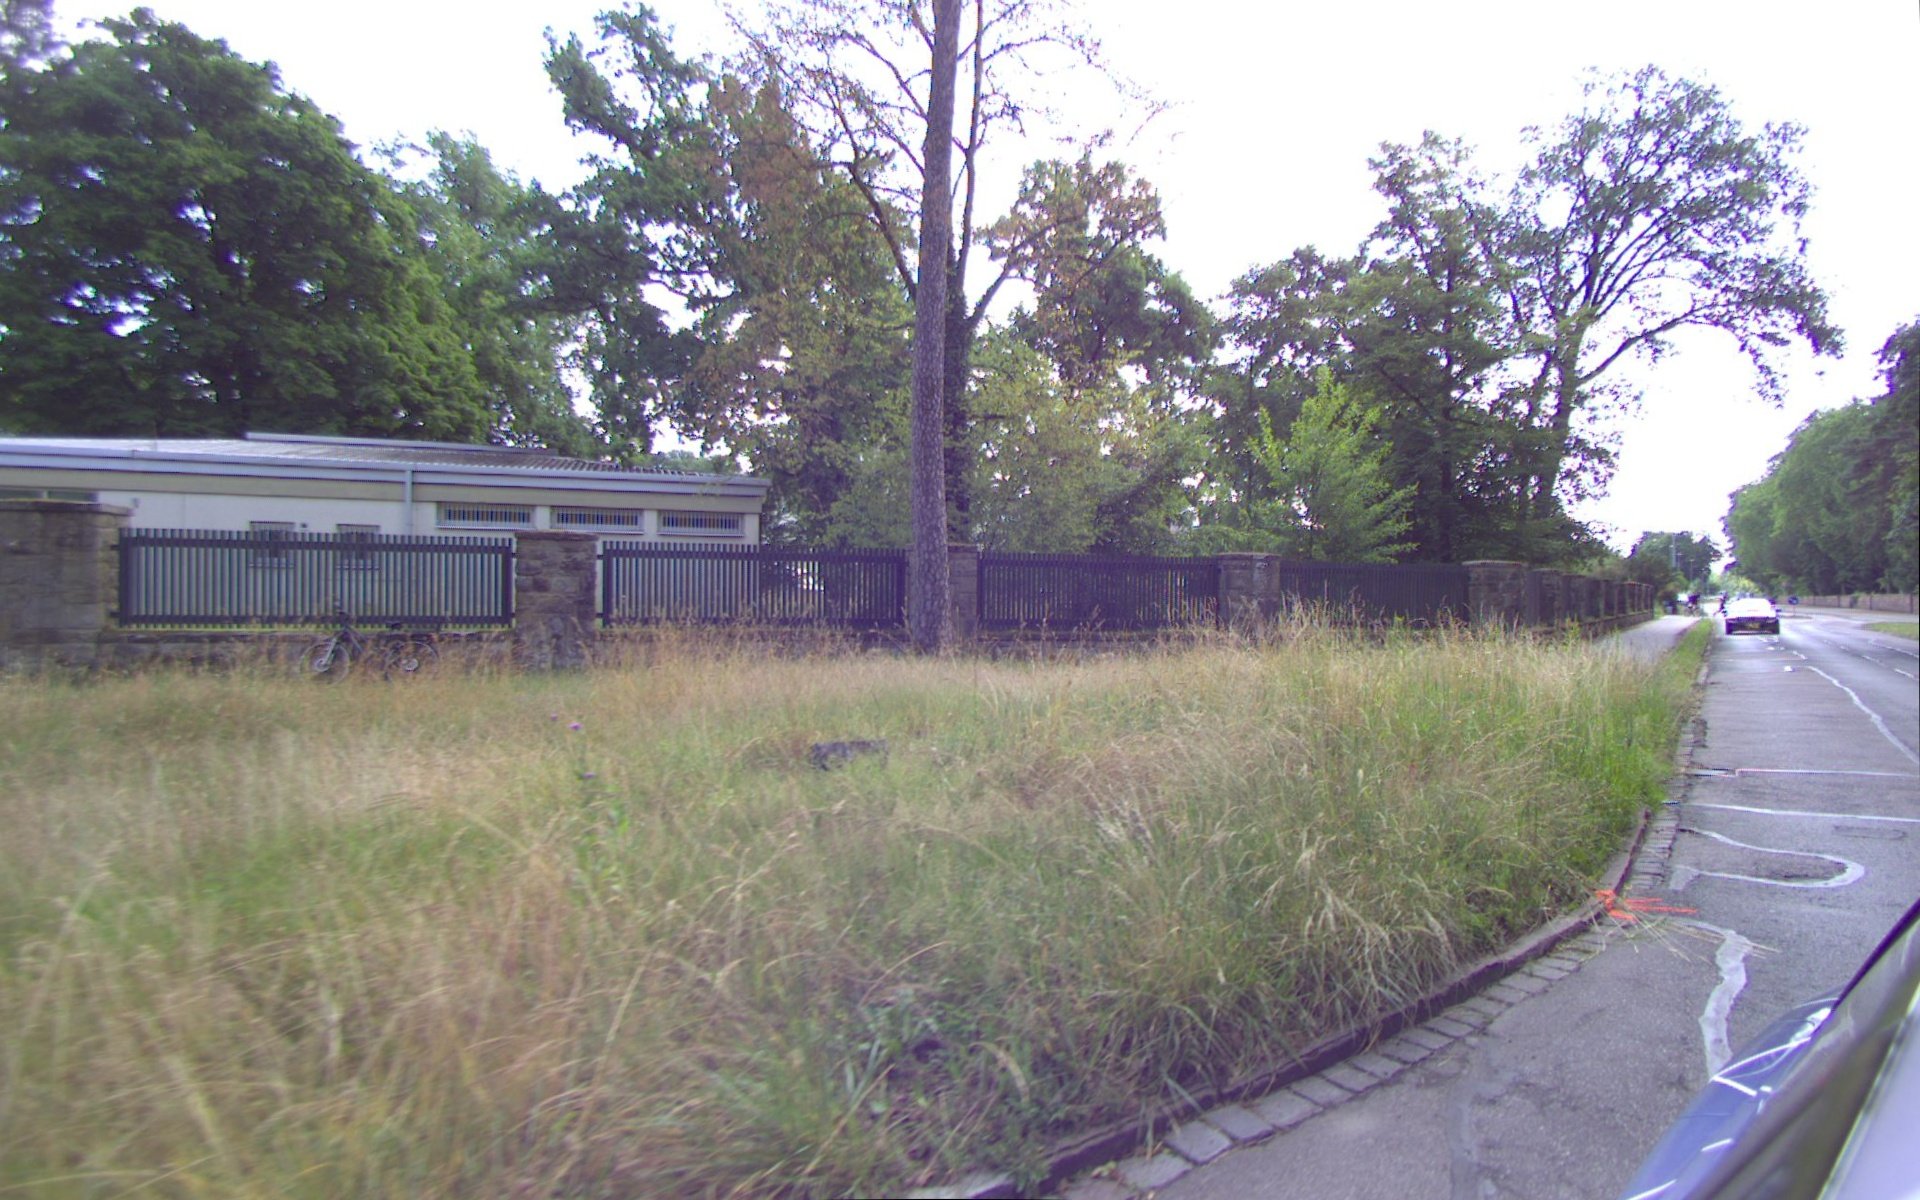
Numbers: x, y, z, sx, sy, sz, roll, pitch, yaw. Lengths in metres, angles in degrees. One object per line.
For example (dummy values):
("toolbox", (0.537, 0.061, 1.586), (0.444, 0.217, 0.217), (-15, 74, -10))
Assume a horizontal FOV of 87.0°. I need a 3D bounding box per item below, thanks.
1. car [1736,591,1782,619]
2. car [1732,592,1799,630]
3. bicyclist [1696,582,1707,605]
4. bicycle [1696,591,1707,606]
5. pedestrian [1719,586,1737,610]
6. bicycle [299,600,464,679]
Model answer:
("car", (45.559, 0.259, 57.706), (1.990, 1.482, 4.145), (1, 1, 39))
("car", (33.722, 0.496, 42.457), (1.954, 1.483, 4.469), (-1, -2, 36))
("bicyclist", (52.509, -0.458, 71.642), (0.568, 1.608, 1.189), (2, 1, 37))
("bicycle", (52.563, -0.105, 71.764), (0.557, 1.086, 2.128), (2, 1, 37))
("pedestrian", (57.004, -0.154, 75.112), (0.613, 1.672, 0.833), (5, -2, -36))
("bicycle", (-7.835, 0.518, 13.781), (1.912, 1.029, 0.374), (0, 1, -19))
